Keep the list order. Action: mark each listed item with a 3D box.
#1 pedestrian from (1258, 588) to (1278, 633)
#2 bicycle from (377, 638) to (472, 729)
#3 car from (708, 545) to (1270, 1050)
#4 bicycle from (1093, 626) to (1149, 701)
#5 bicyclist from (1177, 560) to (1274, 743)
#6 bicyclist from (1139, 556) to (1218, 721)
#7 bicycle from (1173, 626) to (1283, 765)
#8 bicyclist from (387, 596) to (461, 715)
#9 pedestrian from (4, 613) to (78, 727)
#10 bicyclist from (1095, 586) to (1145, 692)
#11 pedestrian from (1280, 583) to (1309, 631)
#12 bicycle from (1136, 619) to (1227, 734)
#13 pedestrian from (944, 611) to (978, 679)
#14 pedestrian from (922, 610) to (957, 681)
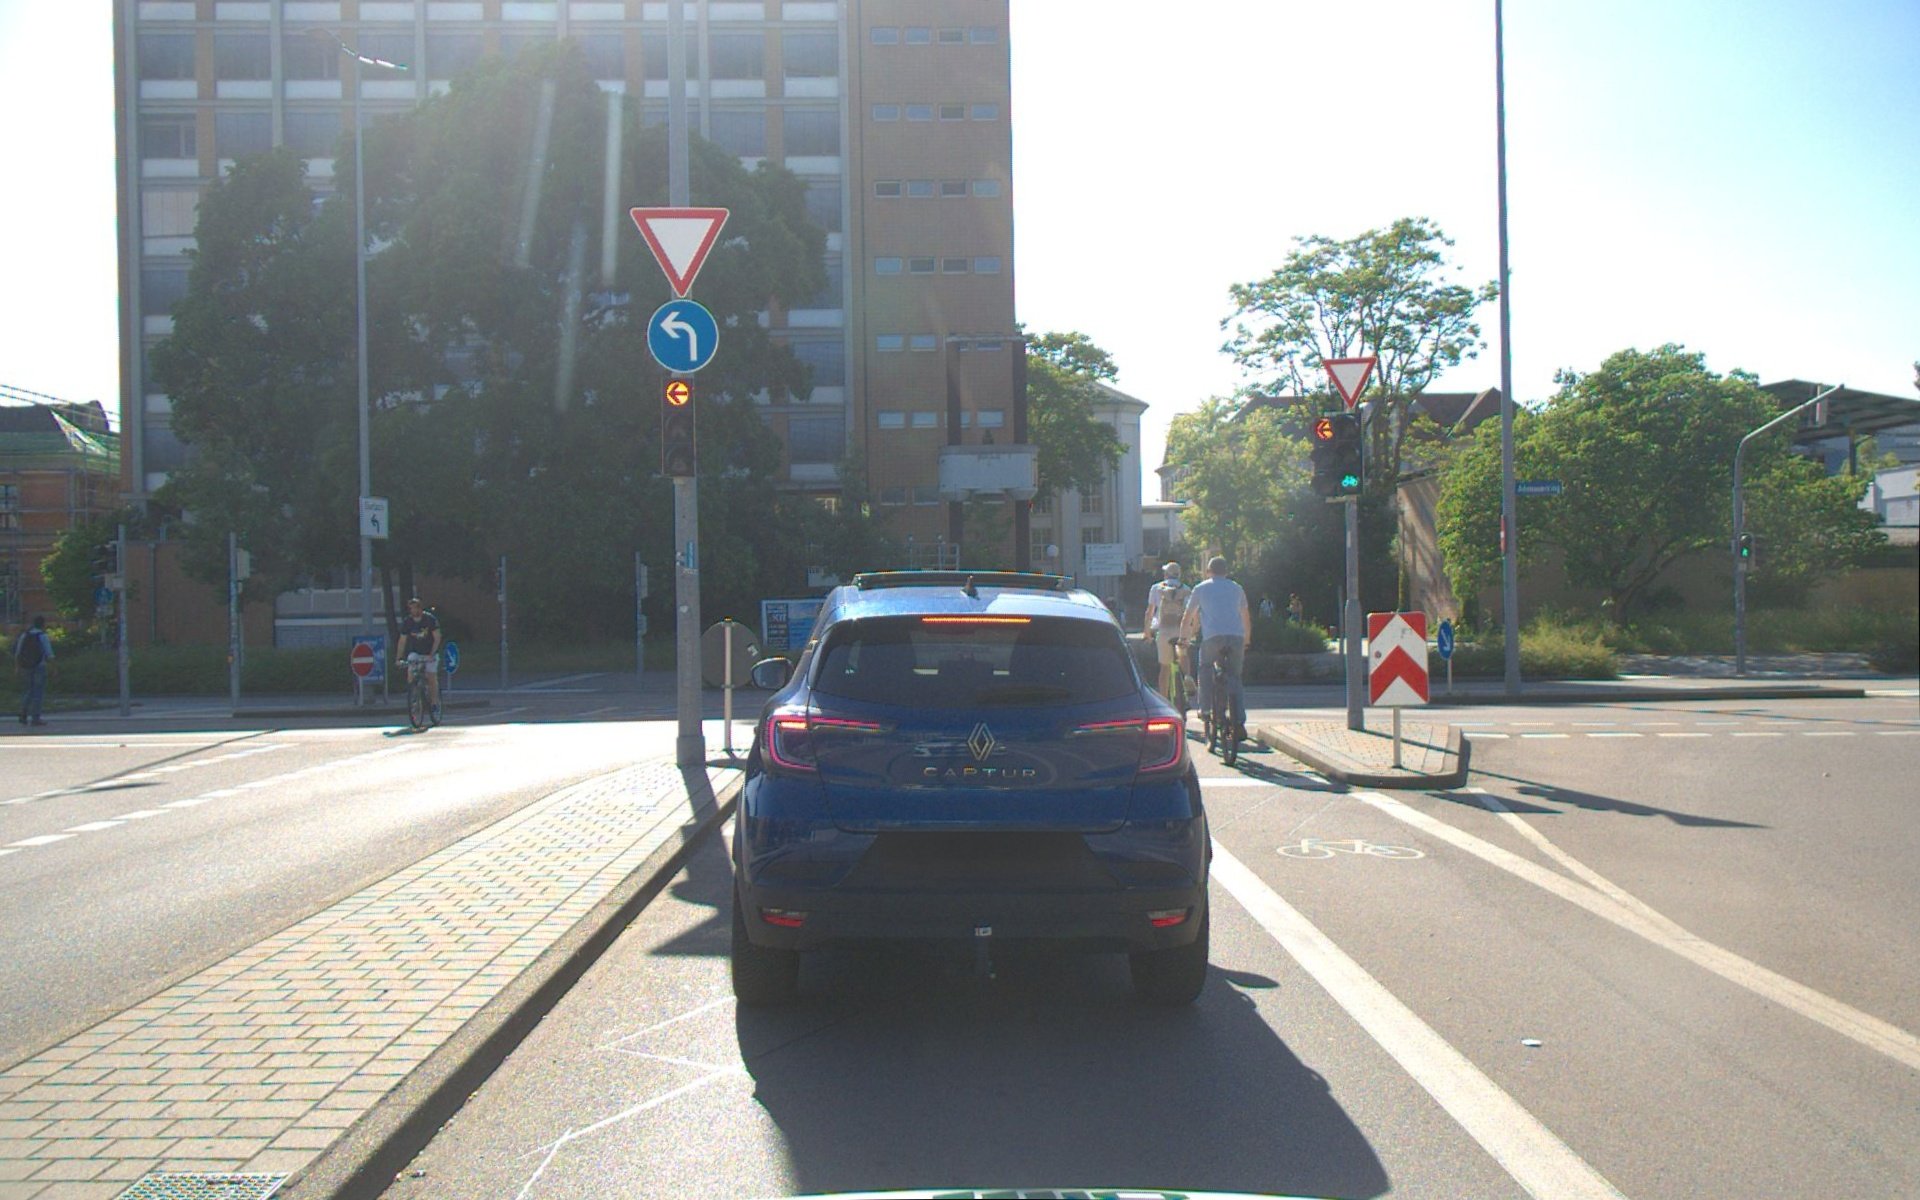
[{"bbox_3d":[11.567,0.391,62.141,0.661,1.672,0.736,1,-1,15],"label":"pedestrian"},{"bbox_3d":[-7.670,1.174,23.768,0.731,1.185,1.870,-2,0,-1],"label":"bicycle"},{"bbox_3d":[0.073,0.660,7.399,1.838,1.646,3.797,1,0,-1],"label":"car"},{"bbox_3d":[2.723,1.056,28.101,0.731,1.185,1.870,-1,0,-1],"label":"bicycle"},{"bbox_3d":[2.474,0.468,15.493,0.705,1.645,0.977,-1,0,-1],"label":"bicyclist"},{"bbox_3d":[2.440,0.423,18.546,0.705,1.793,0.977,-1,0,-1],"label":"bicyclist"},{"bbox_3d":[2.475,0.854,15.459,0.701,1.185,1.870,-1,0,0],"label":"bicycle"},{"bbox_3d":[-7.683,0.780,23.751,0.705,1.649,0.977,-2,0,-1],"label":"bicyclist"},{"bbox_3d":[-15.430,1.169,27.805,0.740,1.865,1.093,-1,-2,-9],"label":"pedestrian"},{"bbox_3d":[2.716,0.658,28.174,0.705,1.765,0.977,-1,0,-1],"label":"bicyclist"},{"bbox_3d":[11.809,0.260,58.397,0.728,1.672,0.669,1,-1,-37],"label":"pedestrian"},{"bbox_3d":[2.454,0.826,18.520,0.731,1.185,1.870,-1,0,-1],"label":"bicycle"},{"bbox_3d":[0.019,1.215,44.937,0.718,1.813,0.732,1,-1,16],"label":"pedestrian"},{"bbox_3d":[-0.528,1.189,43.835,0.718,1.848,0.732,1,-1,16],"label":"pedestrian"}]
